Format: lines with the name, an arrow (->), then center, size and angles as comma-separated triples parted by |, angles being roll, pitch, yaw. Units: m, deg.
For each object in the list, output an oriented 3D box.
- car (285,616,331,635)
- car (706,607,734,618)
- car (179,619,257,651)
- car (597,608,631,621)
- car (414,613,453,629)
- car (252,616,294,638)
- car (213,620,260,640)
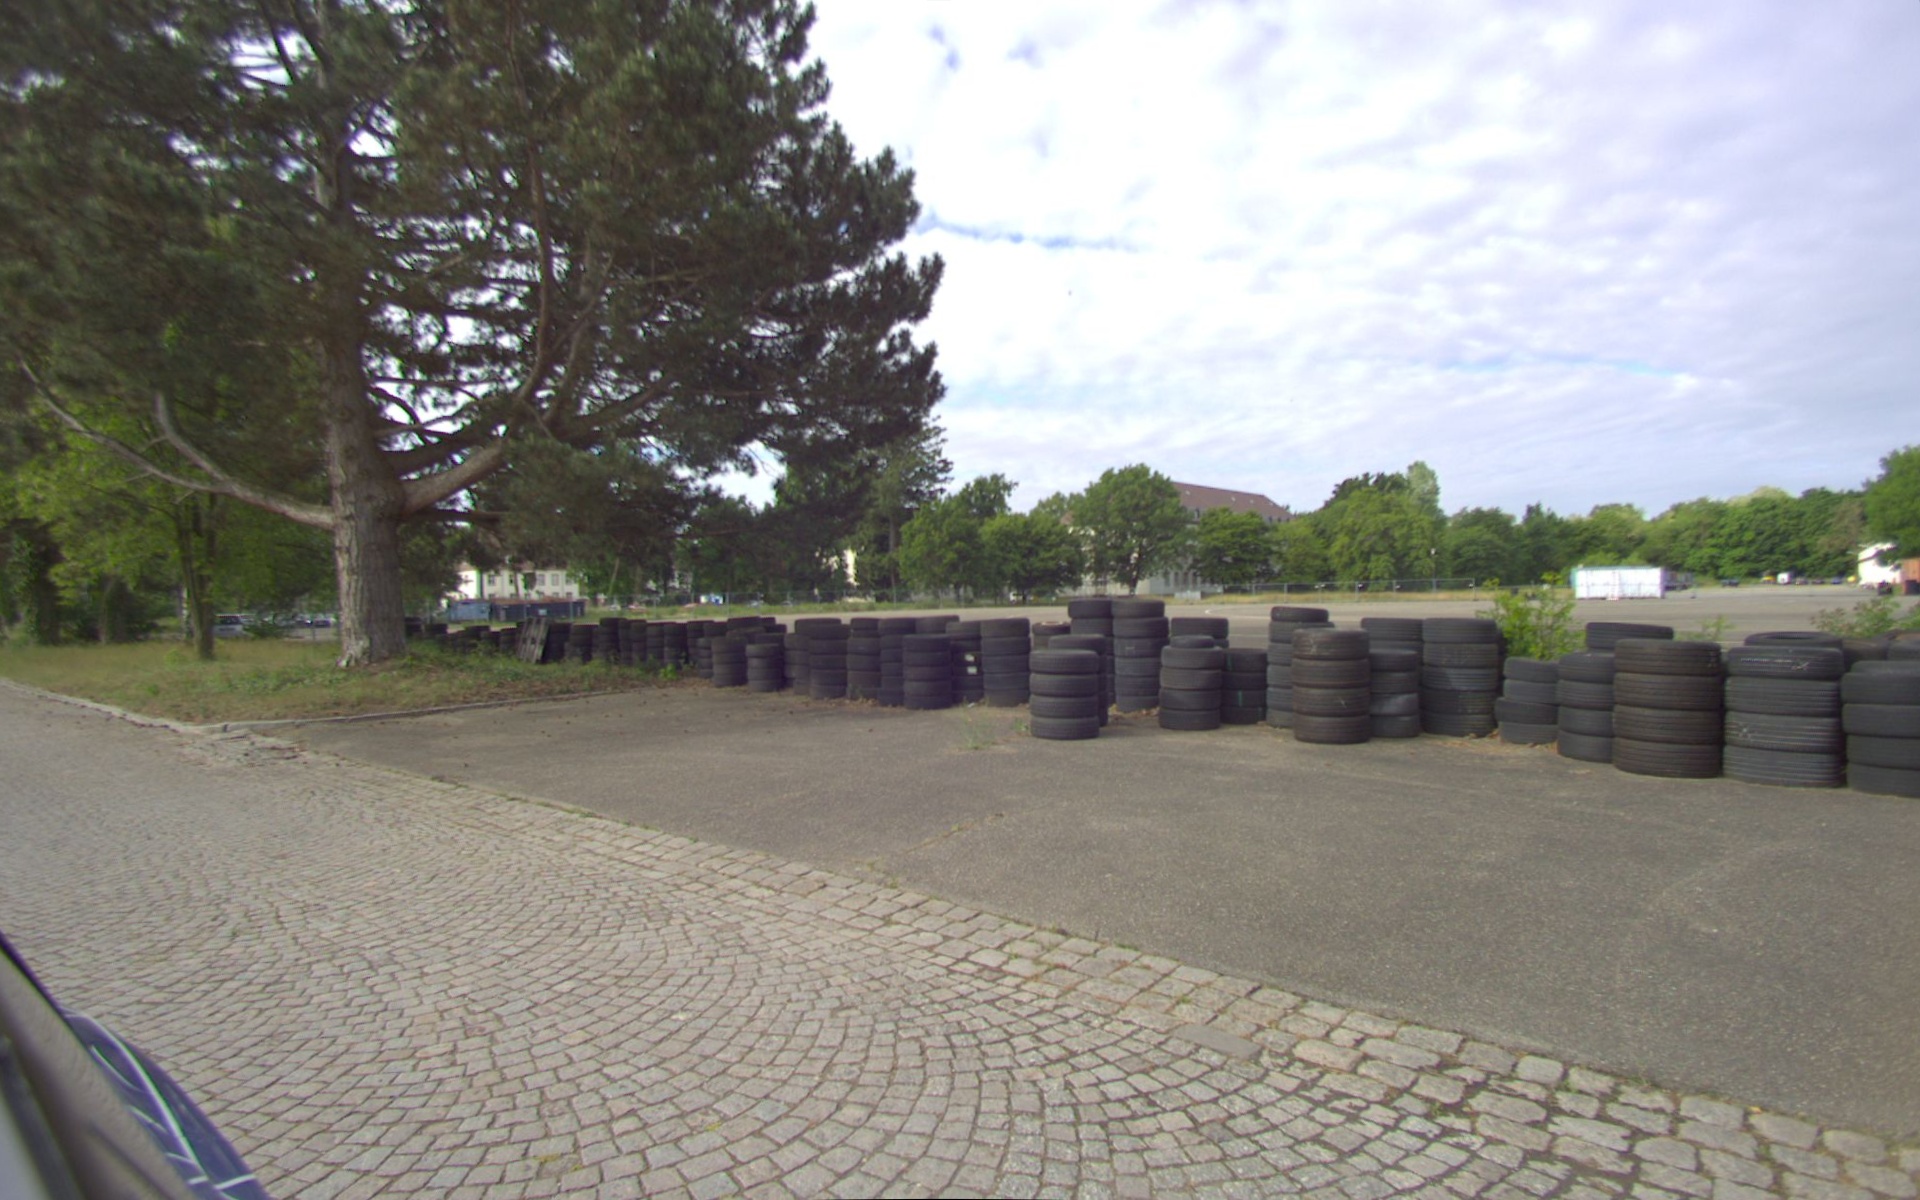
car -> -53.377, 2.114, 82.881 | 4.396, 1.486, 1.807 | -2, 0, 38
car -> -30.130, 1.591, 127.058 | 1.684, 1.361, 4.411 | -2, 0, -39
car -> -34.271, 1.615, 46.692 | 4.415, 1.427, 1.807 | -2, -3, 38
car -> -39.742, 1.706, 116.102 | 4.399, 1.361, 1.689 | -2, 0, 40
car -> -52.653, 2.109, 101.159 | 4.396, 1.486, 1.807 | -2, 0, 38
car -> -54.744, 2.158, 80.607 | 3.893, 1.531, 1.654 | -4, -1, 38
car -> -56.293, 2.313, 78.677 | 4.314, 1.436, 1.807 | -2, 0, 38
